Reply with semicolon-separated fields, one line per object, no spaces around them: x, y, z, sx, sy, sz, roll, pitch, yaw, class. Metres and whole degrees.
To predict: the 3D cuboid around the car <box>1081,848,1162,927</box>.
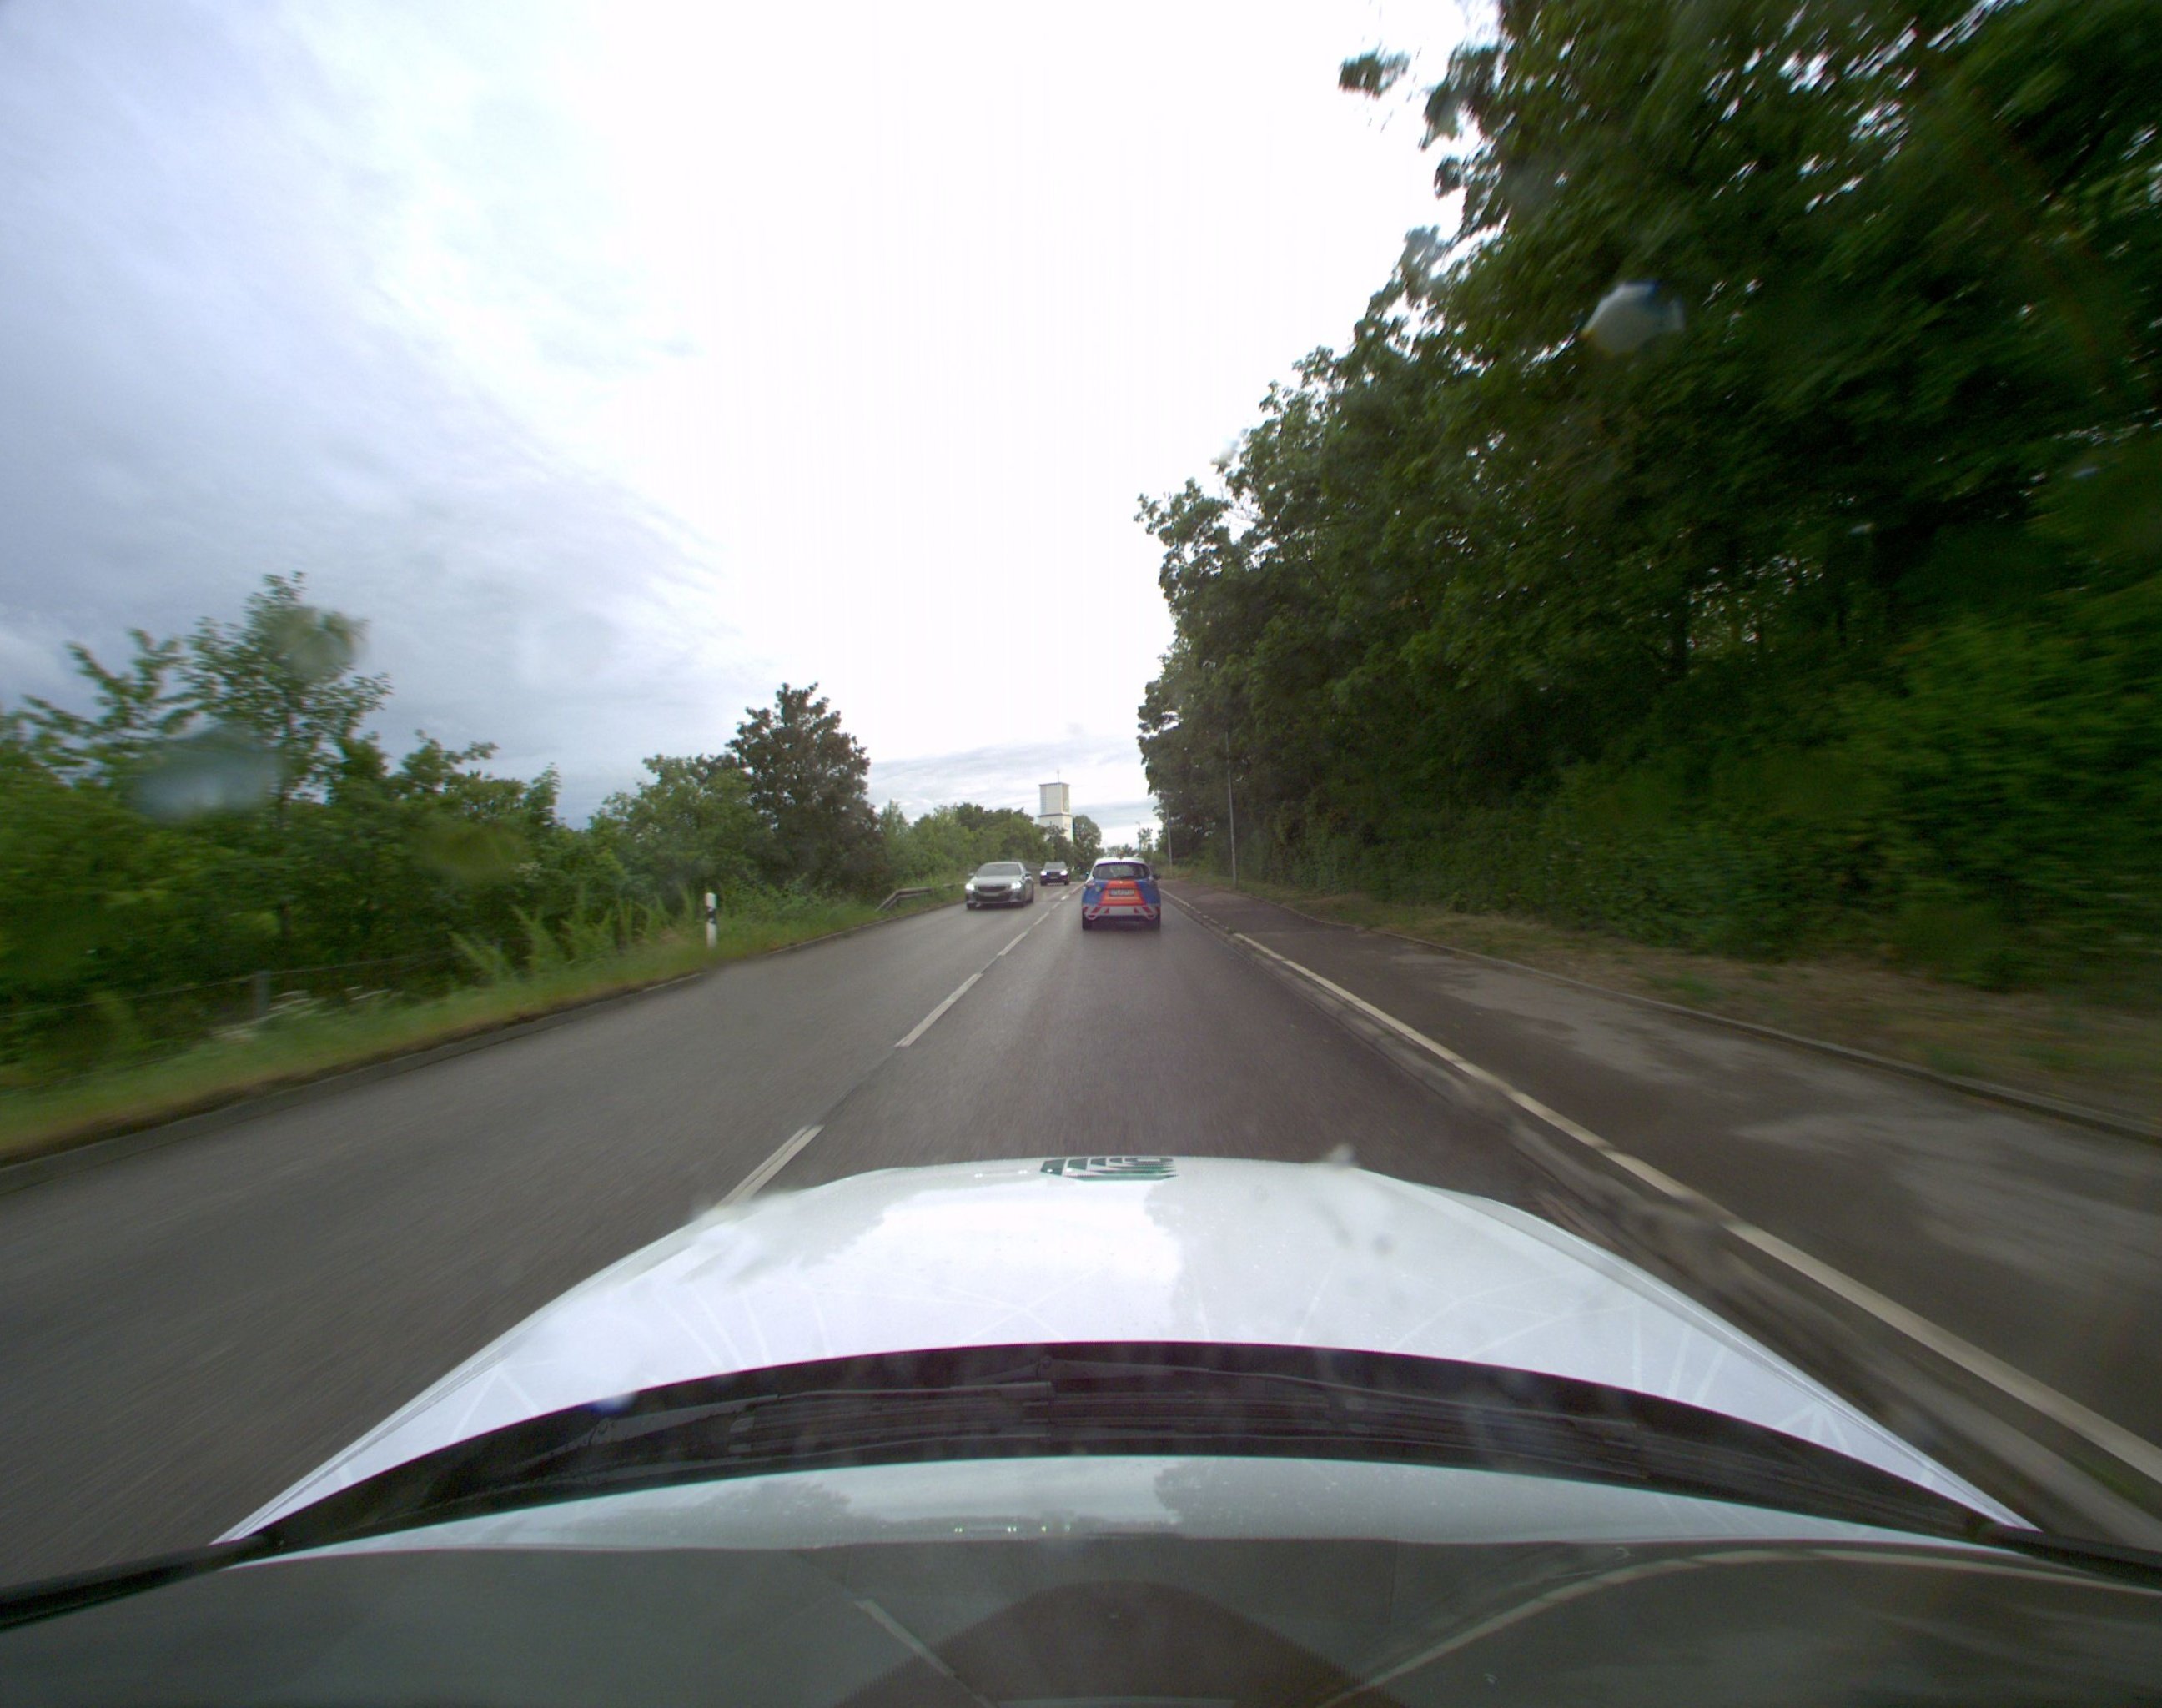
0.899;0.729;18.721;1.651;1.593;3.569;-2;-1;2;car

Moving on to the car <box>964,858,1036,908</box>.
-2.679;0.931;27.987;1.855;1.503;4.729;-2;0;1;car

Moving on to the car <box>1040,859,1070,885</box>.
-1.710;1.172;54.864;1.724;1.585;4.081;-2;0;1;car

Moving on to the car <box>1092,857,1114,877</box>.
1.902;1.118;71.217;1.796;1.590;3.564;-3;-1;1;car
